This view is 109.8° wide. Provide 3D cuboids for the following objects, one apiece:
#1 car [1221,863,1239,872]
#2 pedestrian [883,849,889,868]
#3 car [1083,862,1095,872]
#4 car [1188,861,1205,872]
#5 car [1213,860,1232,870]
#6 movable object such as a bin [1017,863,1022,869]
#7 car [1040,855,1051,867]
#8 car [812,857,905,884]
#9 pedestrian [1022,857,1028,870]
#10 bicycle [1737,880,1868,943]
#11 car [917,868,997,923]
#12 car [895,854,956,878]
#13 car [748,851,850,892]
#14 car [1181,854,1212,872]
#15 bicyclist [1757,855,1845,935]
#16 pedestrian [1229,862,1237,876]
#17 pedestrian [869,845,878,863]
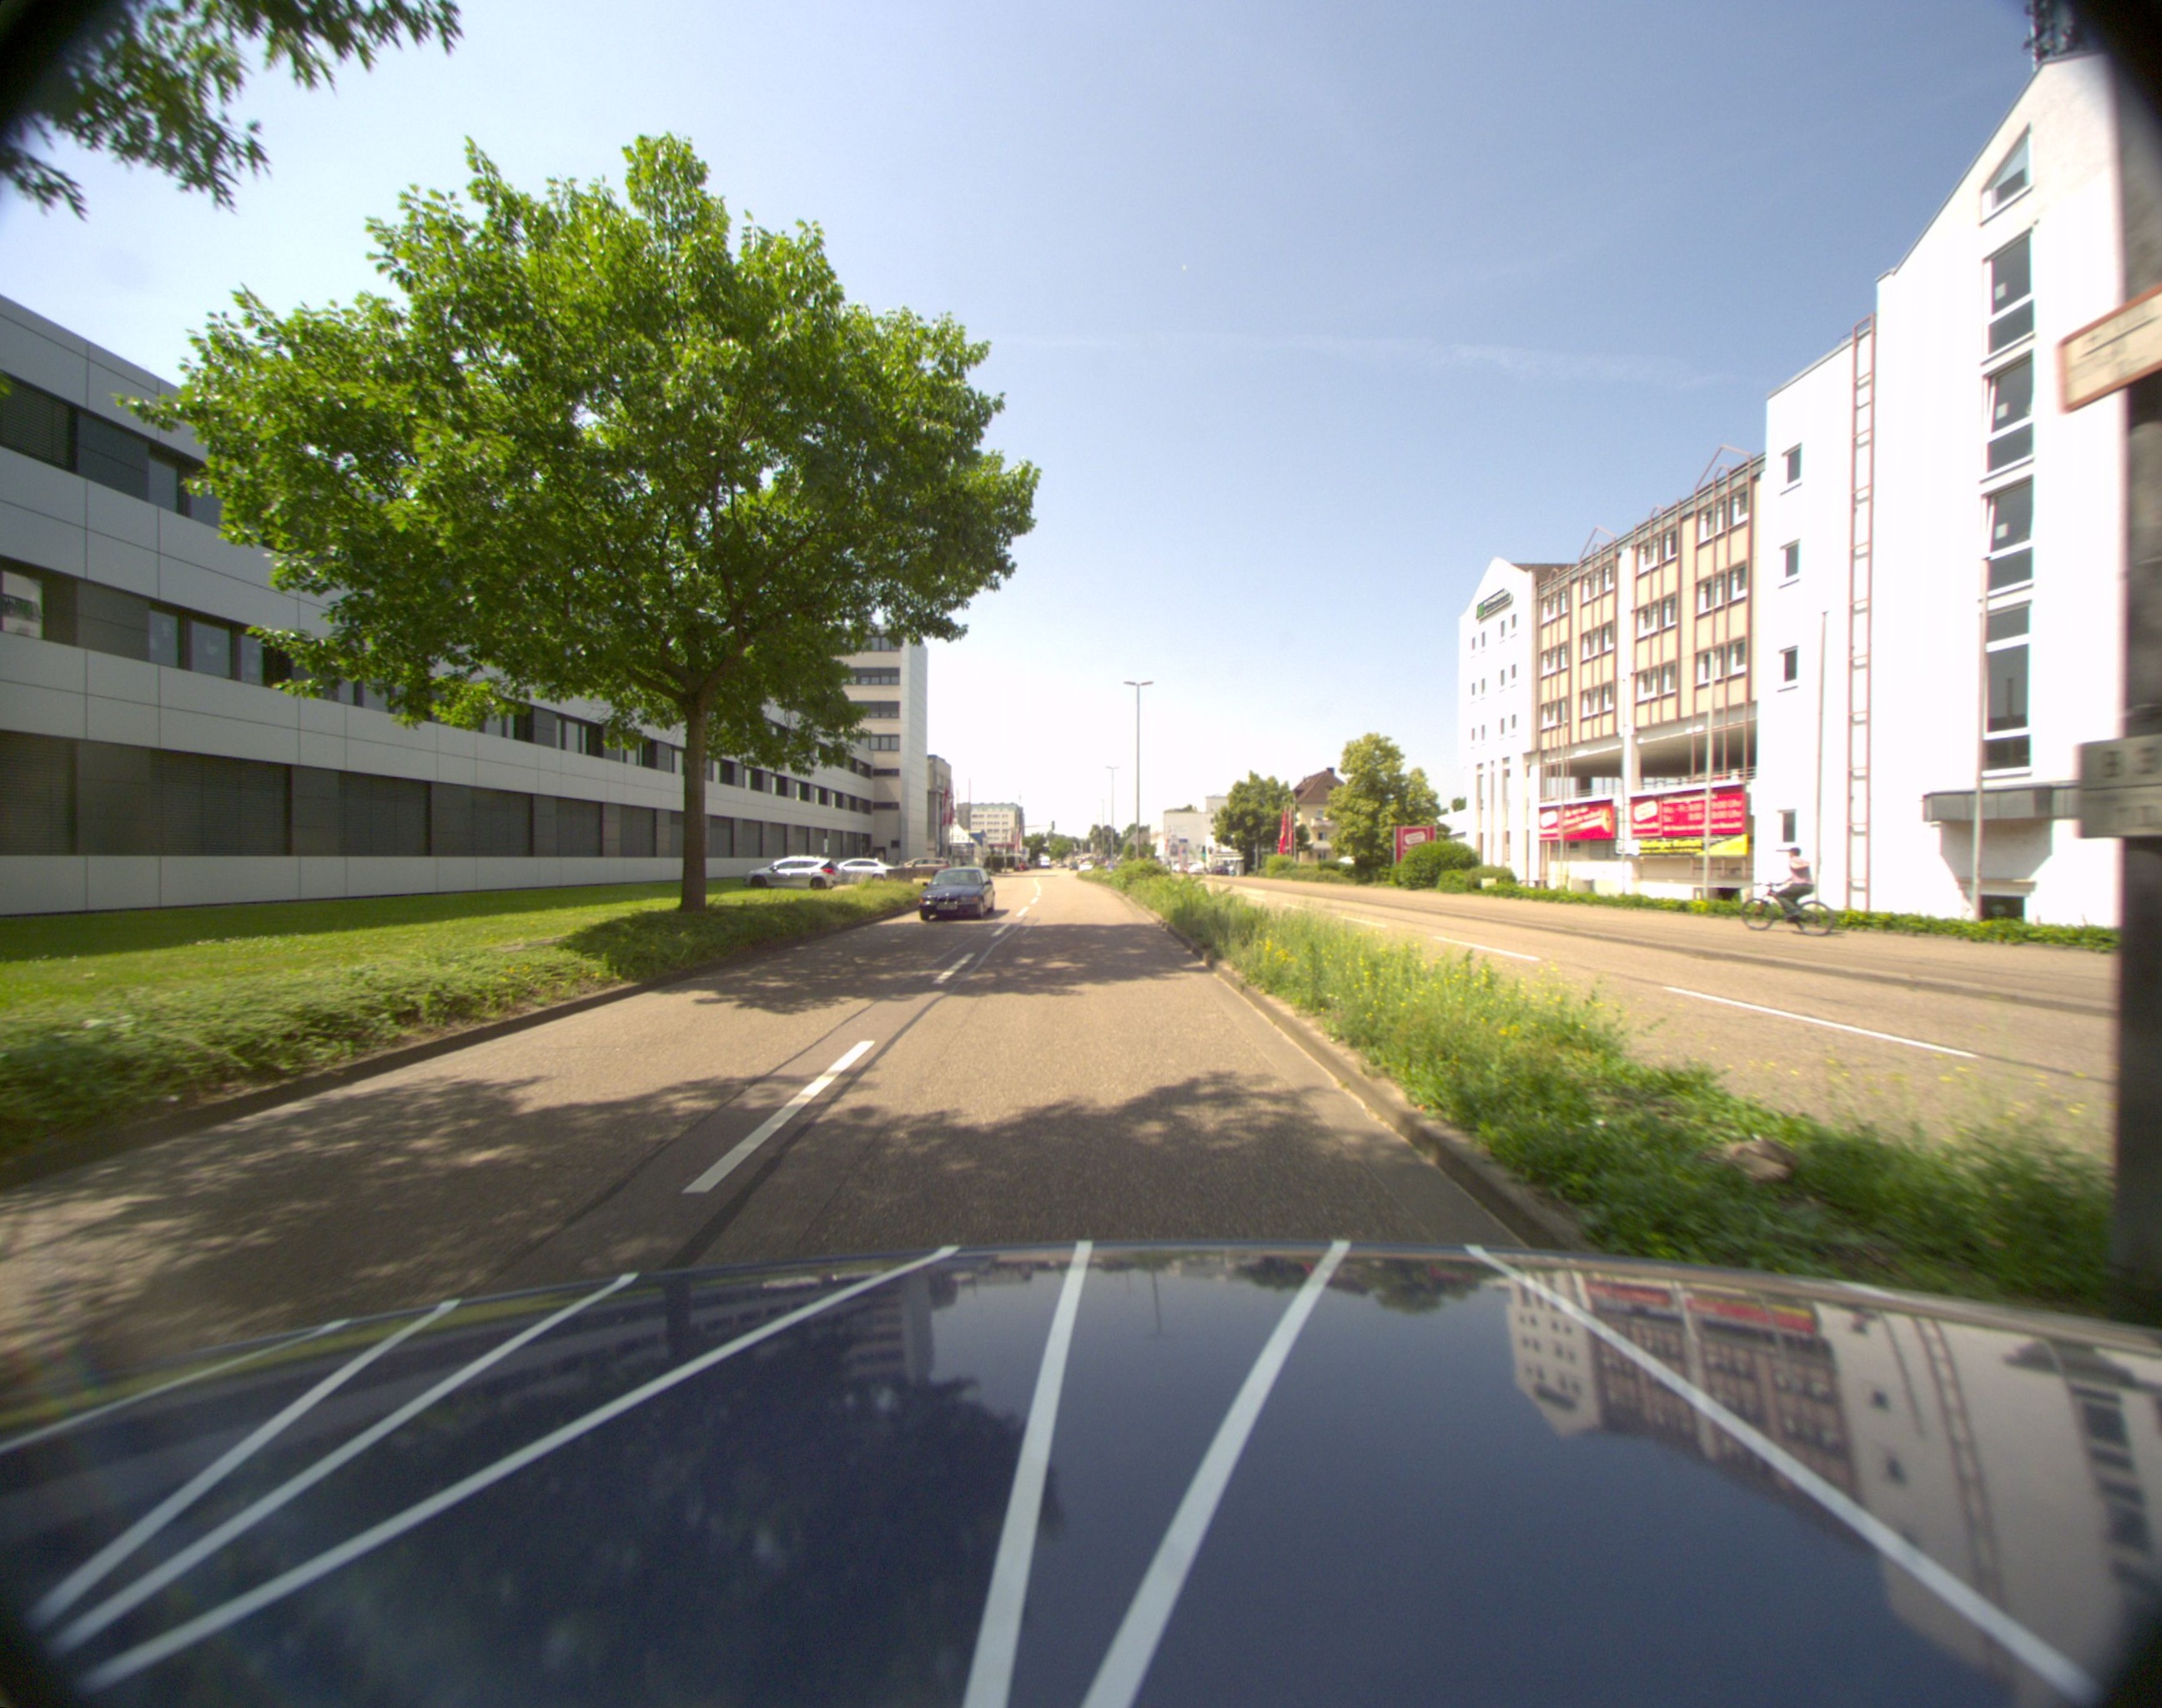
[{"bbox_3d":[22.150,1.986,112.883,1.646,1.244,4.008,1,0,27],"label":"car"},{"bbox_3d":[-17.591,0.391,68.593,0.524,1.653,0.756,1,0,-17],"label":"pedestrian"},{"bbox_3d":[1.101,1.913,109.956,1.693,1.425,3.711,0,0,1],"label":"car"},{"bbox_3d":[16.173,1.762,106.445,1.780,1.402,4.760,1,0,2],"label":"car"},{"bbox_3d":[19.646,1.511,105.495,1.737,1.343,3.999,0,0,-2],"label":"car"},{"bbox_3d":[-9.040,1.727,111.557,0.552,0.914,0.653,3,0,1],"label":"movable object such as a bin"},{"bbox_3d":[-8.572,1.621,184.192,2.183,2.757,7.278,2,0,0],"label":"car"},{"bbox_3d":[-12.399,0.892,42.548,4.627,1.382,1.999,1,0,-5],"label":"car"},{"bbox_3d":[-8.255,1.411,111.664,0.787,1.836,0.936,0,0,3],"label":"pedestrian"},{"bbox_3d":[14.090,1.091,14.925,0.552,1.067,2.062,0,0,-3],"label":"bicycle"},{"bbox_3d":[-3.374,1.105,21.320,1.632,1.331,3.757,-1,0,0],"label":"car"},{"bbox_3d":[-11.927,0.914,58.482,4.271,1.679,1.999,1,0,-4],"label":"car"},{"bbox_3d":[-12.454,0.747,33.746,3.823,1.582,1.732,3,0,-4],"label":"car"},{"bbox_3d":[18.258,1.420,119.829,4.556,1.699,1.760,-12,0,10],"label":"car"},{"bbox_3d":[14.090,0.770,14.899,0.719,1.507,1.026,1,0,-3],"label":"bicyclist"},{"bbox_3d":[18.599,1.799,92.937,0.742,1.737,1.034,0,0,3],"label":"pedestrian"},{"bbox_3d":[-18.377,0.017,67.399,0.594,1.625,0.523,1,0,9],"label":"pedestrian"}]
